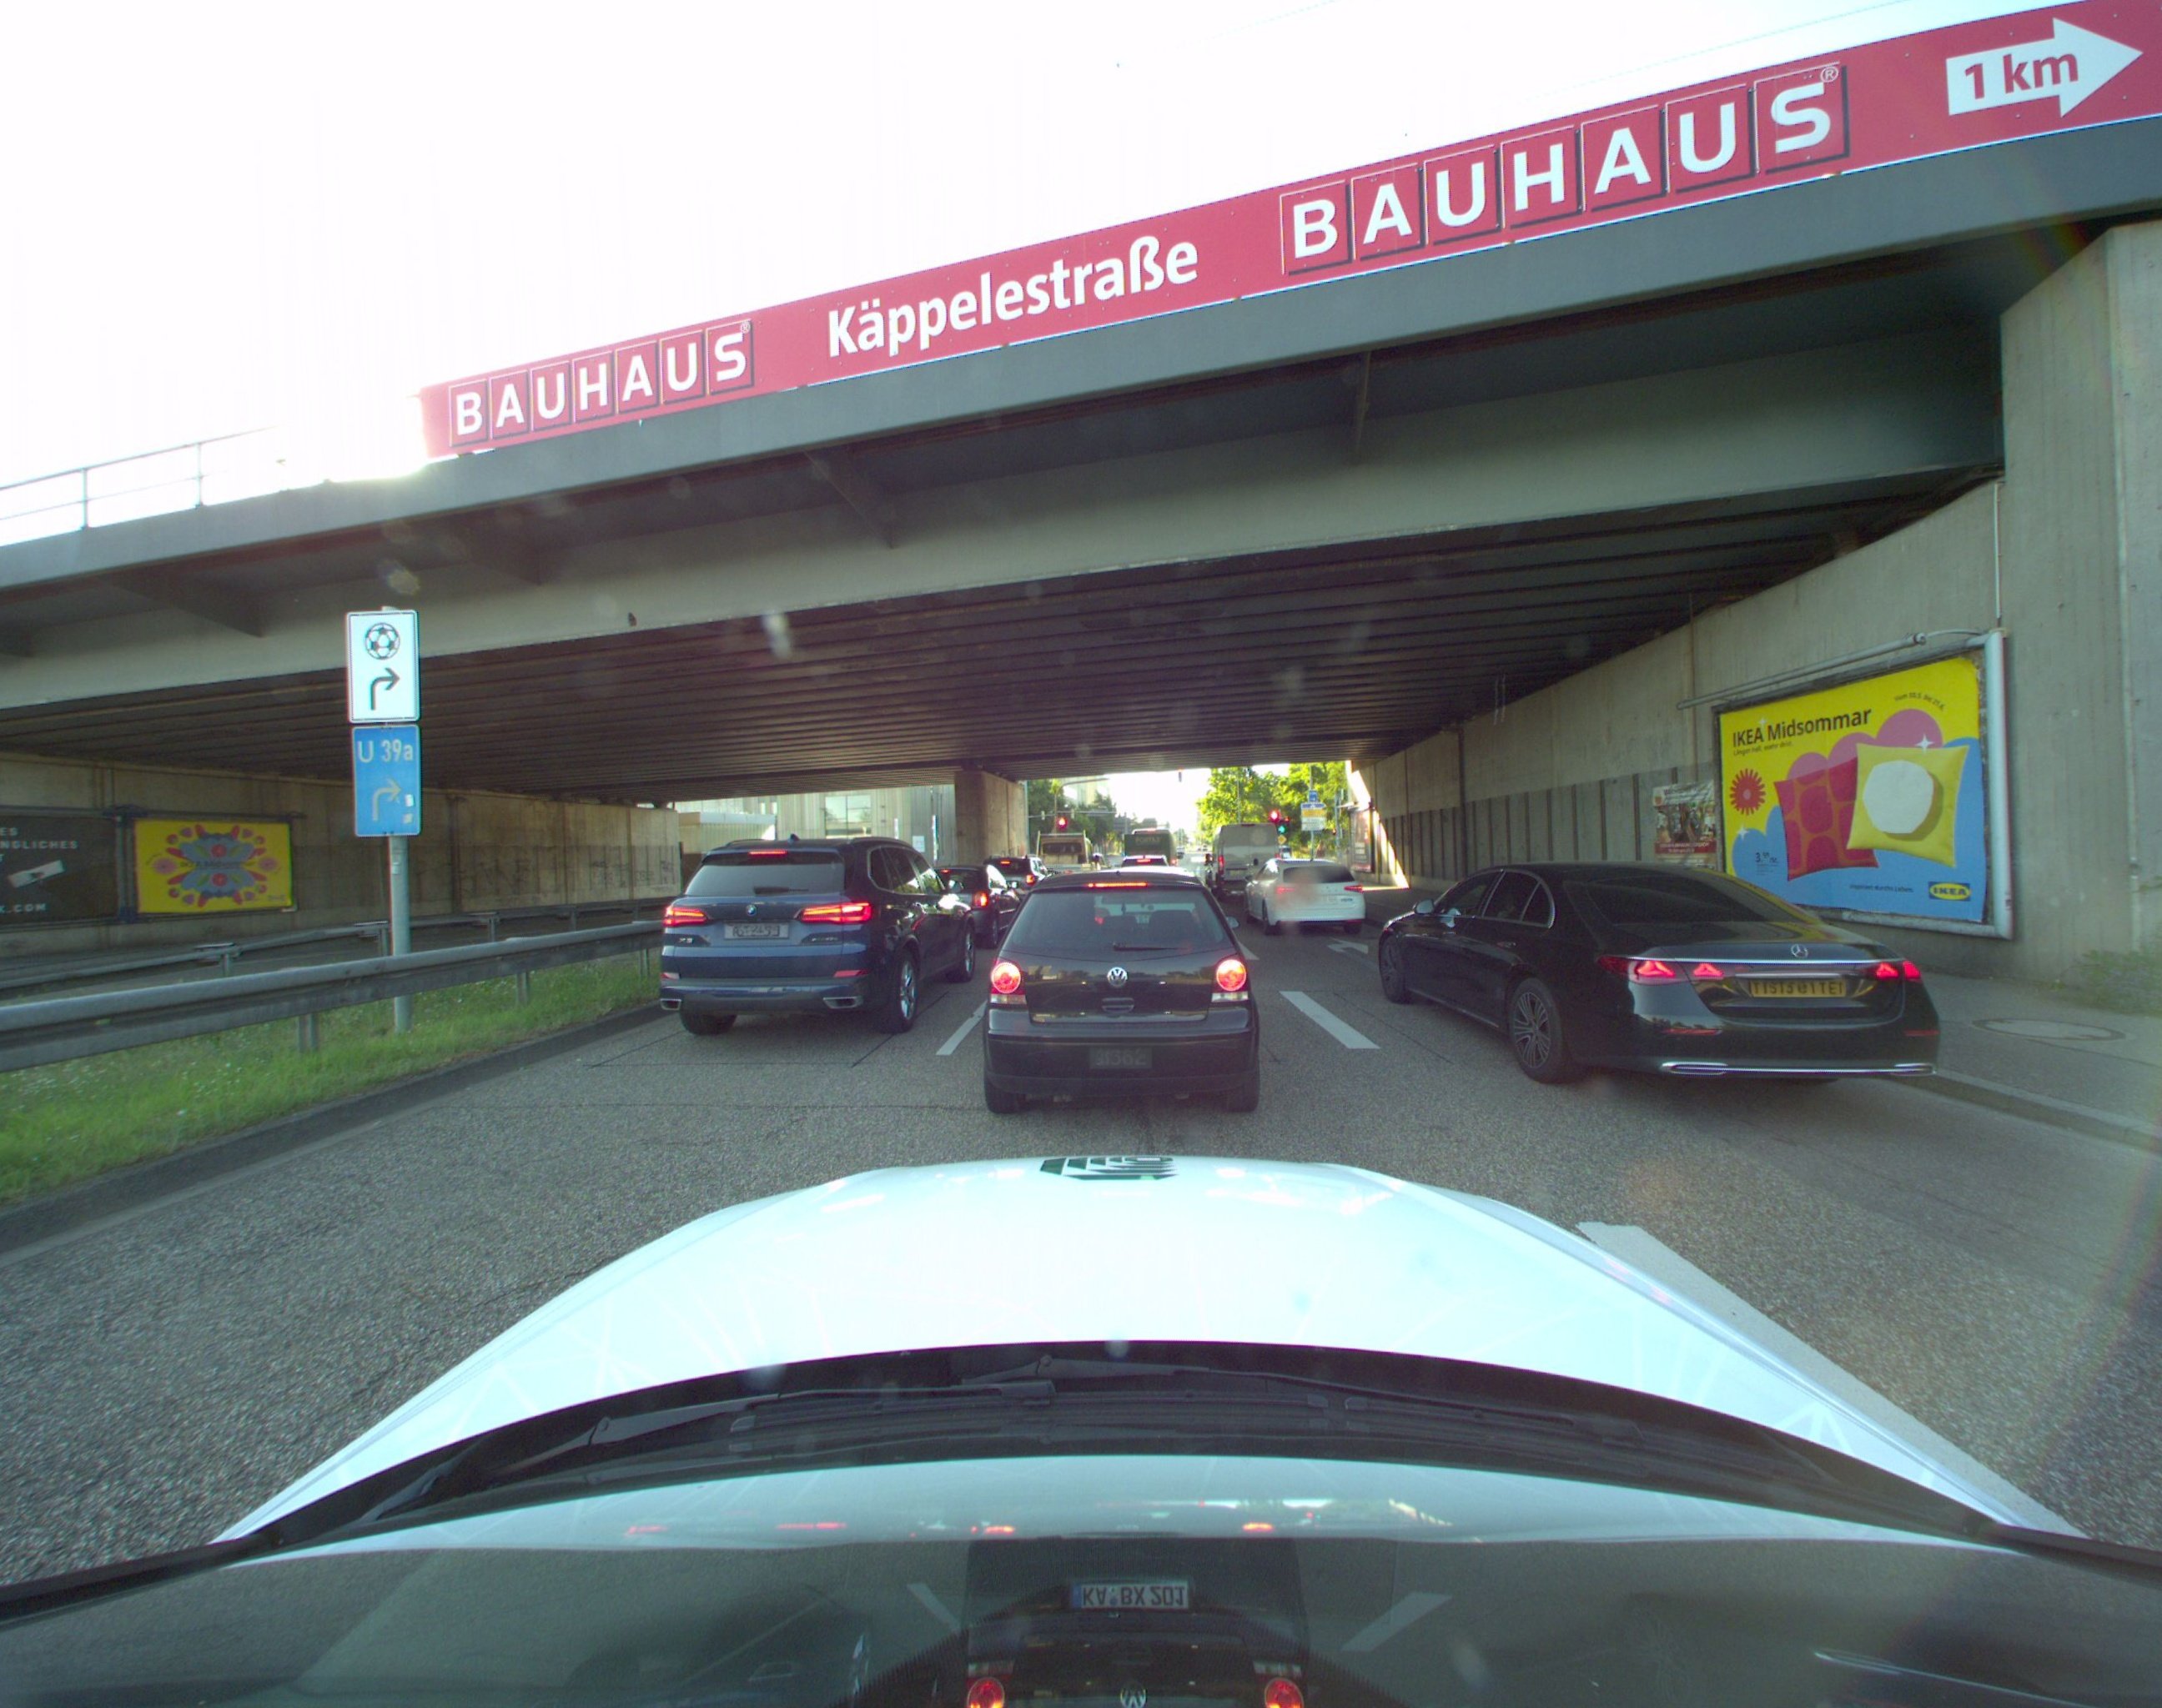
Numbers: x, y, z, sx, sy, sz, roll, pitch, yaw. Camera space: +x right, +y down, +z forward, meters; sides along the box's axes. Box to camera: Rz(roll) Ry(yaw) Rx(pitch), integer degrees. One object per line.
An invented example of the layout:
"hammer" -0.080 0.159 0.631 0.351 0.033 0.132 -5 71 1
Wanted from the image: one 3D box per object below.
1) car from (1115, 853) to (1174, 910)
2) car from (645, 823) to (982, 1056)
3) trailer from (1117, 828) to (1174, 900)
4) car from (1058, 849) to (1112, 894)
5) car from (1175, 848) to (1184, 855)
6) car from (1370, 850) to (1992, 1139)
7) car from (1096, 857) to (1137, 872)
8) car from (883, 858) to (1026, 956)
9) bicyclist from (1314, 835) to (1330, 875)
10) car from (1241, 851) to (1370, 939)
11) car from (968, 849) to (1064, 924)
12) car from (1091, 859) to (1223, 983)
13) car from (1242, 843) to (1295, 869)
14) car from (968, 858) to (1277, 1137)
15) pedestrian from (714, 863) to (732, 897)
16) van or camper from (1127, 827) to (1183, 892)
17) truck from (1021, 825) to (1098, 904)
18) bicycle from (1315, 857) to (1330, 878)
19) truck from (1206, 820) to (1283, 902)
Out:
"car" 1.926 0.803 24.414 1.574 1.532 3.837 -1 -1 5
"car" -2.344 0.703 8.521 1.822 1.738 4.464 -2 -1 3
"trailer" 2.494 0.383 30.544 1.854 2.465 3.839 -3 -1 7
"car" 0.238 0.791 37.656 1.983 1.901 4.007 -2 -1 7
"car" 19.258 -0.498 158.779 1.335 1.281 2.893 -5 -1 1
"car" 3.913 0.721 6.519 1.733 1.454 4.609 -1 0 2
"car" 2.618 0.777 59.957 2.823 1.081 1.214 -1 -1 -11
"car" -2.184 0.899 15.070 1.834 1.440 3.677 -5 -1 2
"bicyclist" 11.641 0.059 39.337 0.677 1.907 0.836 -2 -1 15
"car" 4.391 0.777 16.491 1.764 1.495 3.836 -3 -1 5
"car" -1.646 0.837 22.134 1.833 1.719 4.005 -5 -1 5
"car" 1.013 0.796 11.296 1.540 1.423 3.421 0 0 4
"car" 14.330 0.156 62.356 3.771 1.684 1.669 -5 -1 10
"car" 0.248 0.786 6.140 1.576 1.409 3.832 -1 -1 1
"pedestrian" -20.607 1.489 46.865 0.690 1.904 0.666 -2 -1 7
"van or camper" 3.381 0.271 35.985 1.982 2.571 5.932 -2 -1 9
"truck" -0.654 0.404 29.564 2.018 2.557 5.546 -2 -1 6
"bicycle" 11.653 0.656 39.349 0.574 0.963 2.897 -2 -1 15
"truck" 5.616 0.255 28.529 2.101 2.519 4.407 -3 -1 5
